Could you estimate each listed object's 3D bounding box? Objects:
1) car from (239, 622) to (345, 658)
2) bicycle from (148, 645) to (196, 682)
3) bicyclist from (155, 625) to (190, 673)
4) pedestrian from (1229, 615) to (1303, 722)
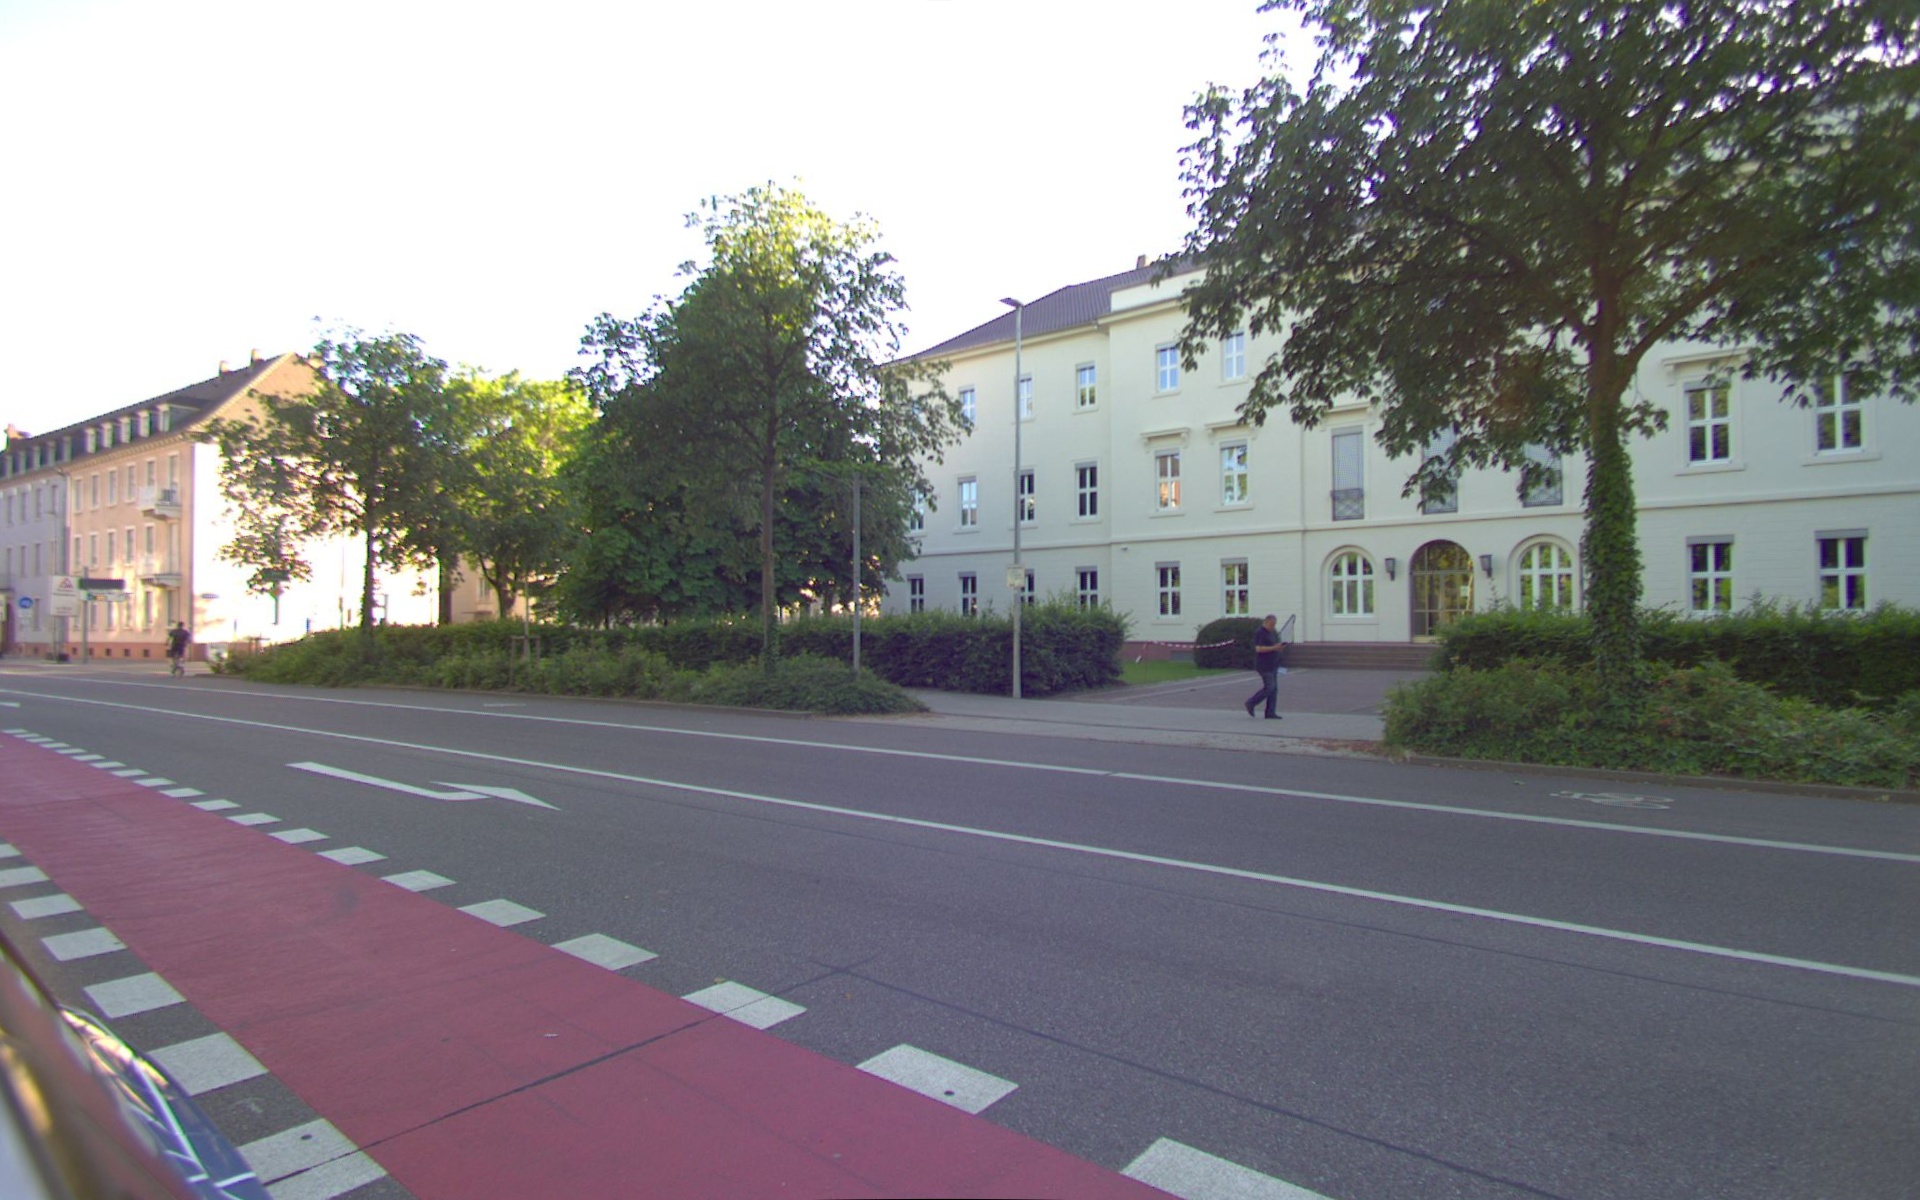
[{"bbox_3d":[-33.167,1.947,50.370,1.993,1.674,3.958,-1,-1,31],"label":"car"},{"bbox_3d":[-26.162,2.094,33.582,2.242,1.168,0.688,-2,-4,38],"label":"bicycle"},{"bbox_3d":[-26.102,1.611,33.562,0.837,1.574,0.683,-2,-4,37],"label":"bicyclist"},{"bbox_3d":[5.154,1.130,17.051,0.966,1.733,0.827,-2,-3,36],"label":"pedestrian"}]
